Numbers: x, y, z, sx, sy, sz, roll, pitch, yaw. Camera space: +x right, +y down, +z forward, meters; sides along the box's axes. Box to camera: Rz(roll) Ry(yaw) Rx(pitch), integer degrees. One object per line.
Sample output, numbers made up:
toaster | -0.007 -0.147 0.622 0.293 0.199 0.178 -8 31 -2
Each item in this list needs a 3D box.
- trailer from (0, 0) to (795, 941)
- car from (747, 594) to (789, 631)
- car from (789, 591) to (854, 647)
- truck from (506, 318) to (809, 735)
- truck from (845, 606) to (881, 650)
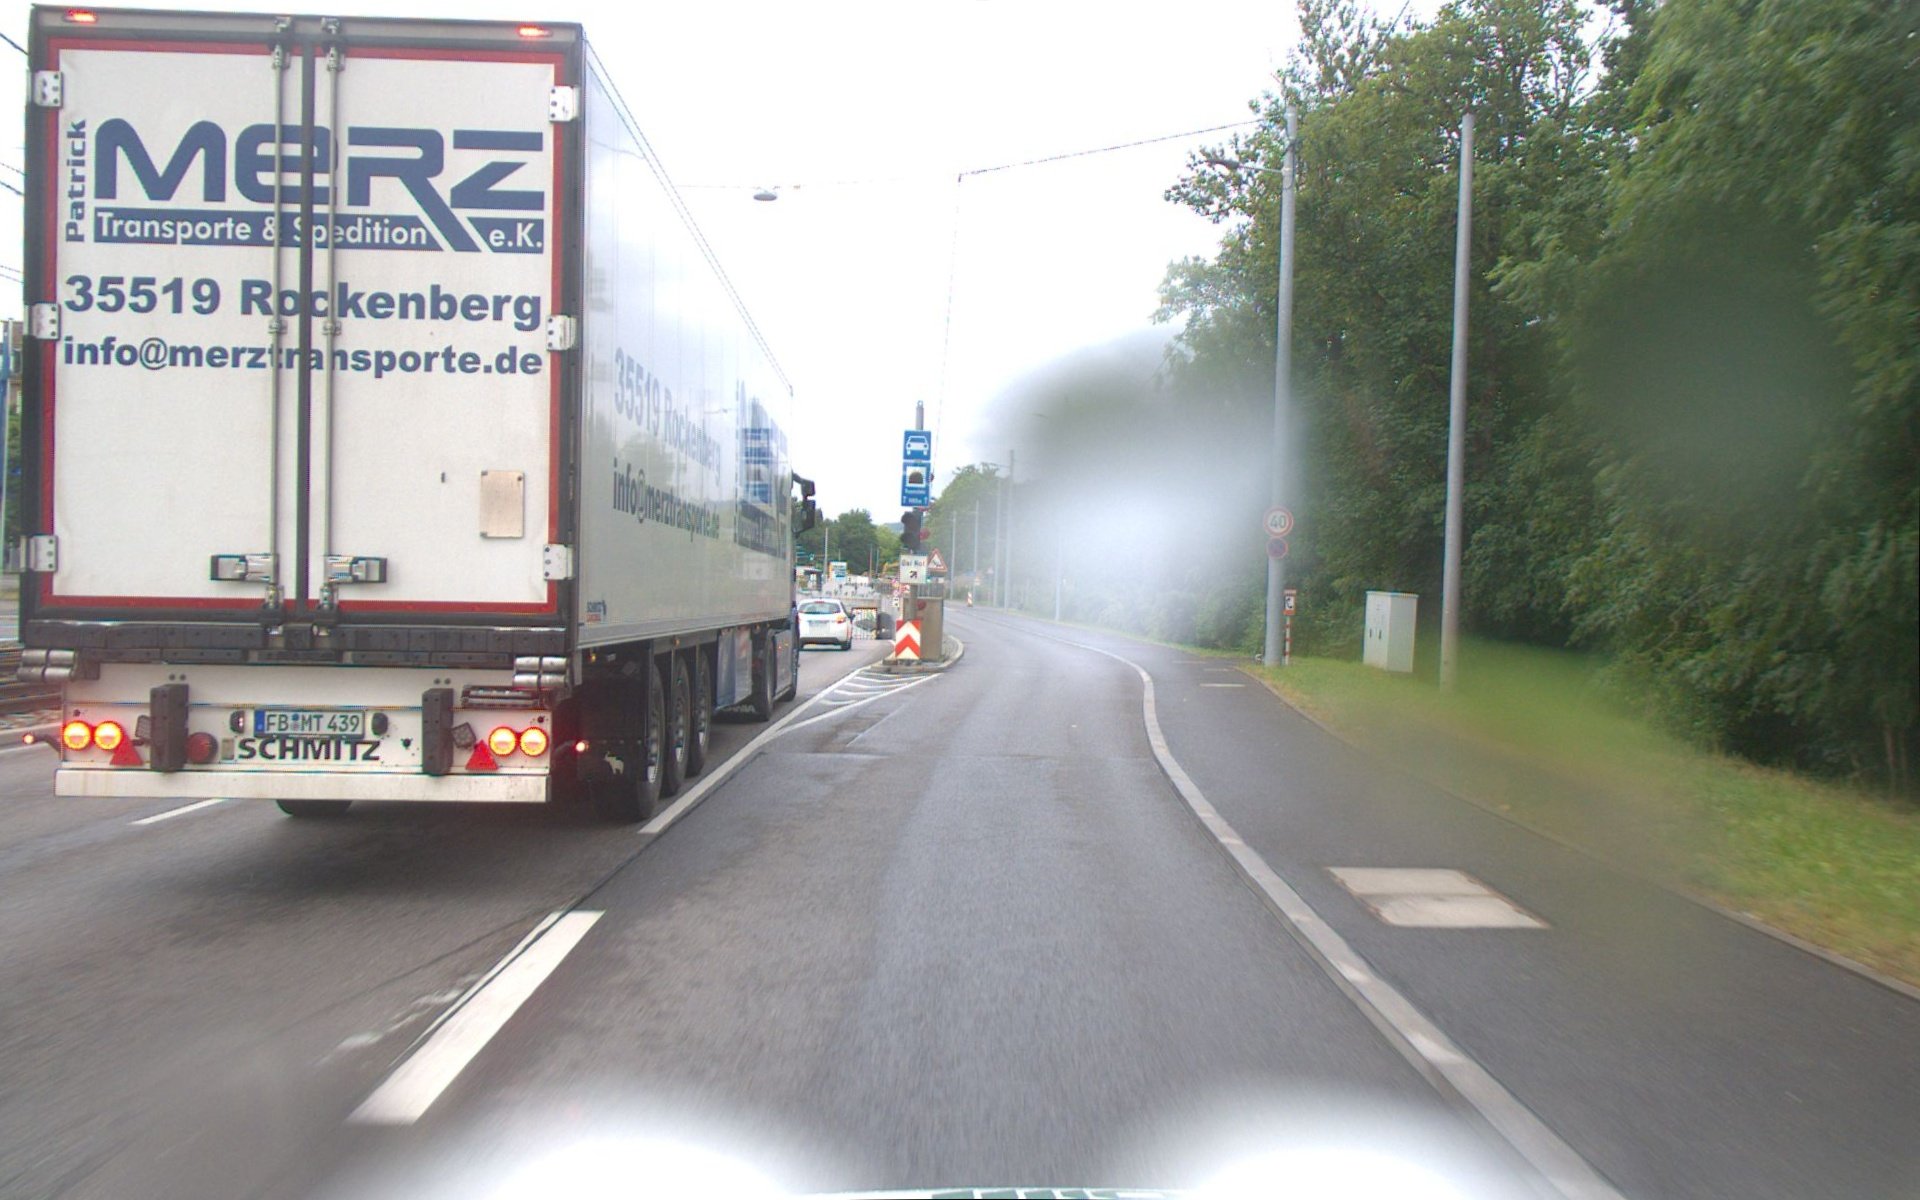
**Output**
trailer | -3.216 -0.711 13.995 2.706 4.327 13.179 0 1 -2
car | -8.745 0.560 75.603 1.648 1.471 3.998 1 2 -3
car | -4.052 0.529 48.893 1.774 1.448 3.998 1 2 -3
truck | -3.397 -0.780 20.172 2.700 4.278 6.304 0 0 -2
truck | -9.603 2.719 164.180 3.448 4.110 8.069 1 0 -3
